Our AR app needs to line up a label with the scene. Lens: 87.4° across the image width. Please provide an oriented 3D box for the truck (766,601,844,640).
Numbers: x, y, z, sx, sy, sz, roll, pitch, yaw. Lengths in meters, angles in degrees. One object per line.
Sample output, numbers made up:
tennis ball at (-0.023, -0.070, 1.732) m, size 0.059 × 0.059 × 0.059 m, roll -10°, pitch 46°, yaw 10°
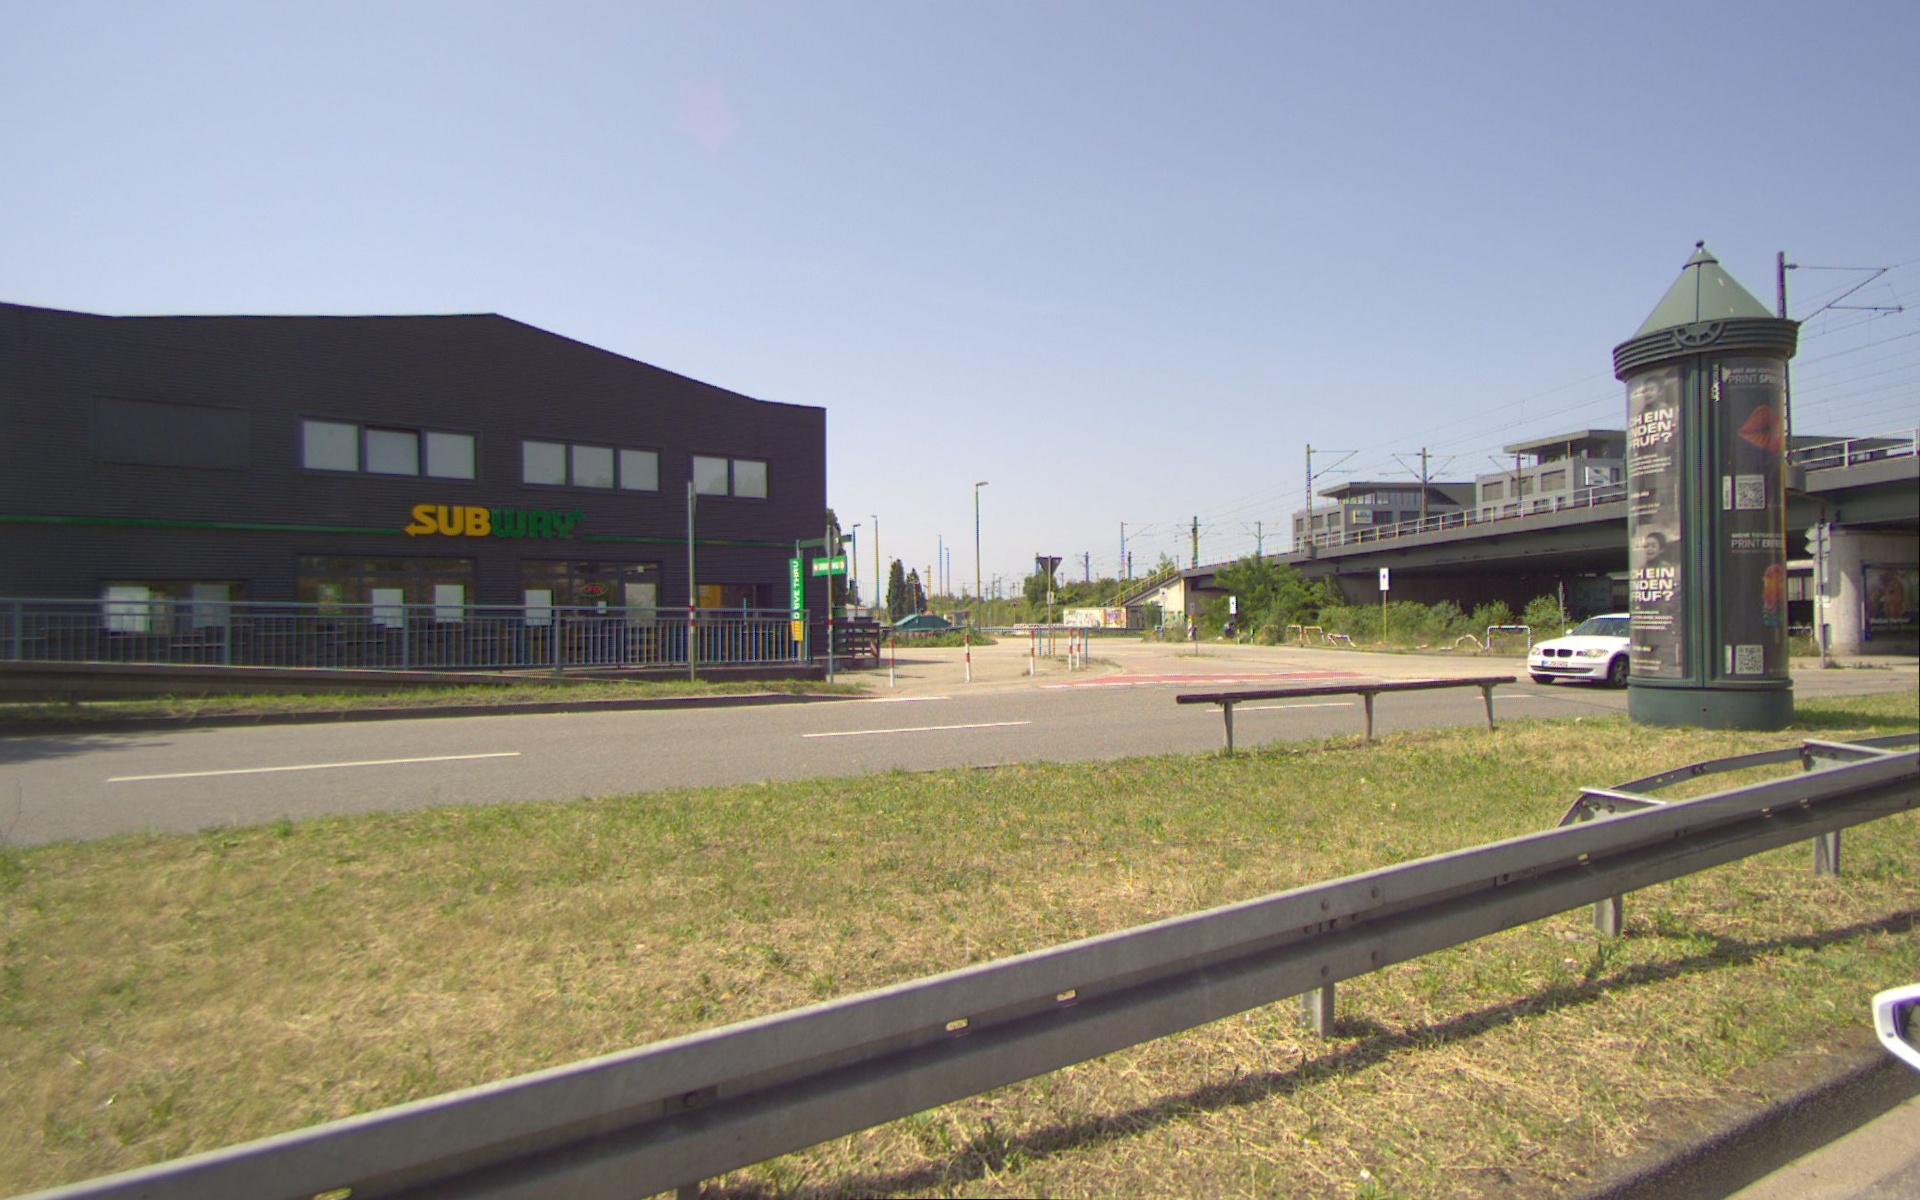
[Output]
truck at (-12.694, 1.758, 82.936) m, size 2.811 × 2.966 × 6.847 m, roll -2°, pitch -4°, yaw 29°

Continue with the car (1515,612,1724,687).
car at (13.362, 0.969, 20.334) m, size 4.161 × 1.398 × 1.649 m, roll 1°, pitch -1°, yaw -26°
